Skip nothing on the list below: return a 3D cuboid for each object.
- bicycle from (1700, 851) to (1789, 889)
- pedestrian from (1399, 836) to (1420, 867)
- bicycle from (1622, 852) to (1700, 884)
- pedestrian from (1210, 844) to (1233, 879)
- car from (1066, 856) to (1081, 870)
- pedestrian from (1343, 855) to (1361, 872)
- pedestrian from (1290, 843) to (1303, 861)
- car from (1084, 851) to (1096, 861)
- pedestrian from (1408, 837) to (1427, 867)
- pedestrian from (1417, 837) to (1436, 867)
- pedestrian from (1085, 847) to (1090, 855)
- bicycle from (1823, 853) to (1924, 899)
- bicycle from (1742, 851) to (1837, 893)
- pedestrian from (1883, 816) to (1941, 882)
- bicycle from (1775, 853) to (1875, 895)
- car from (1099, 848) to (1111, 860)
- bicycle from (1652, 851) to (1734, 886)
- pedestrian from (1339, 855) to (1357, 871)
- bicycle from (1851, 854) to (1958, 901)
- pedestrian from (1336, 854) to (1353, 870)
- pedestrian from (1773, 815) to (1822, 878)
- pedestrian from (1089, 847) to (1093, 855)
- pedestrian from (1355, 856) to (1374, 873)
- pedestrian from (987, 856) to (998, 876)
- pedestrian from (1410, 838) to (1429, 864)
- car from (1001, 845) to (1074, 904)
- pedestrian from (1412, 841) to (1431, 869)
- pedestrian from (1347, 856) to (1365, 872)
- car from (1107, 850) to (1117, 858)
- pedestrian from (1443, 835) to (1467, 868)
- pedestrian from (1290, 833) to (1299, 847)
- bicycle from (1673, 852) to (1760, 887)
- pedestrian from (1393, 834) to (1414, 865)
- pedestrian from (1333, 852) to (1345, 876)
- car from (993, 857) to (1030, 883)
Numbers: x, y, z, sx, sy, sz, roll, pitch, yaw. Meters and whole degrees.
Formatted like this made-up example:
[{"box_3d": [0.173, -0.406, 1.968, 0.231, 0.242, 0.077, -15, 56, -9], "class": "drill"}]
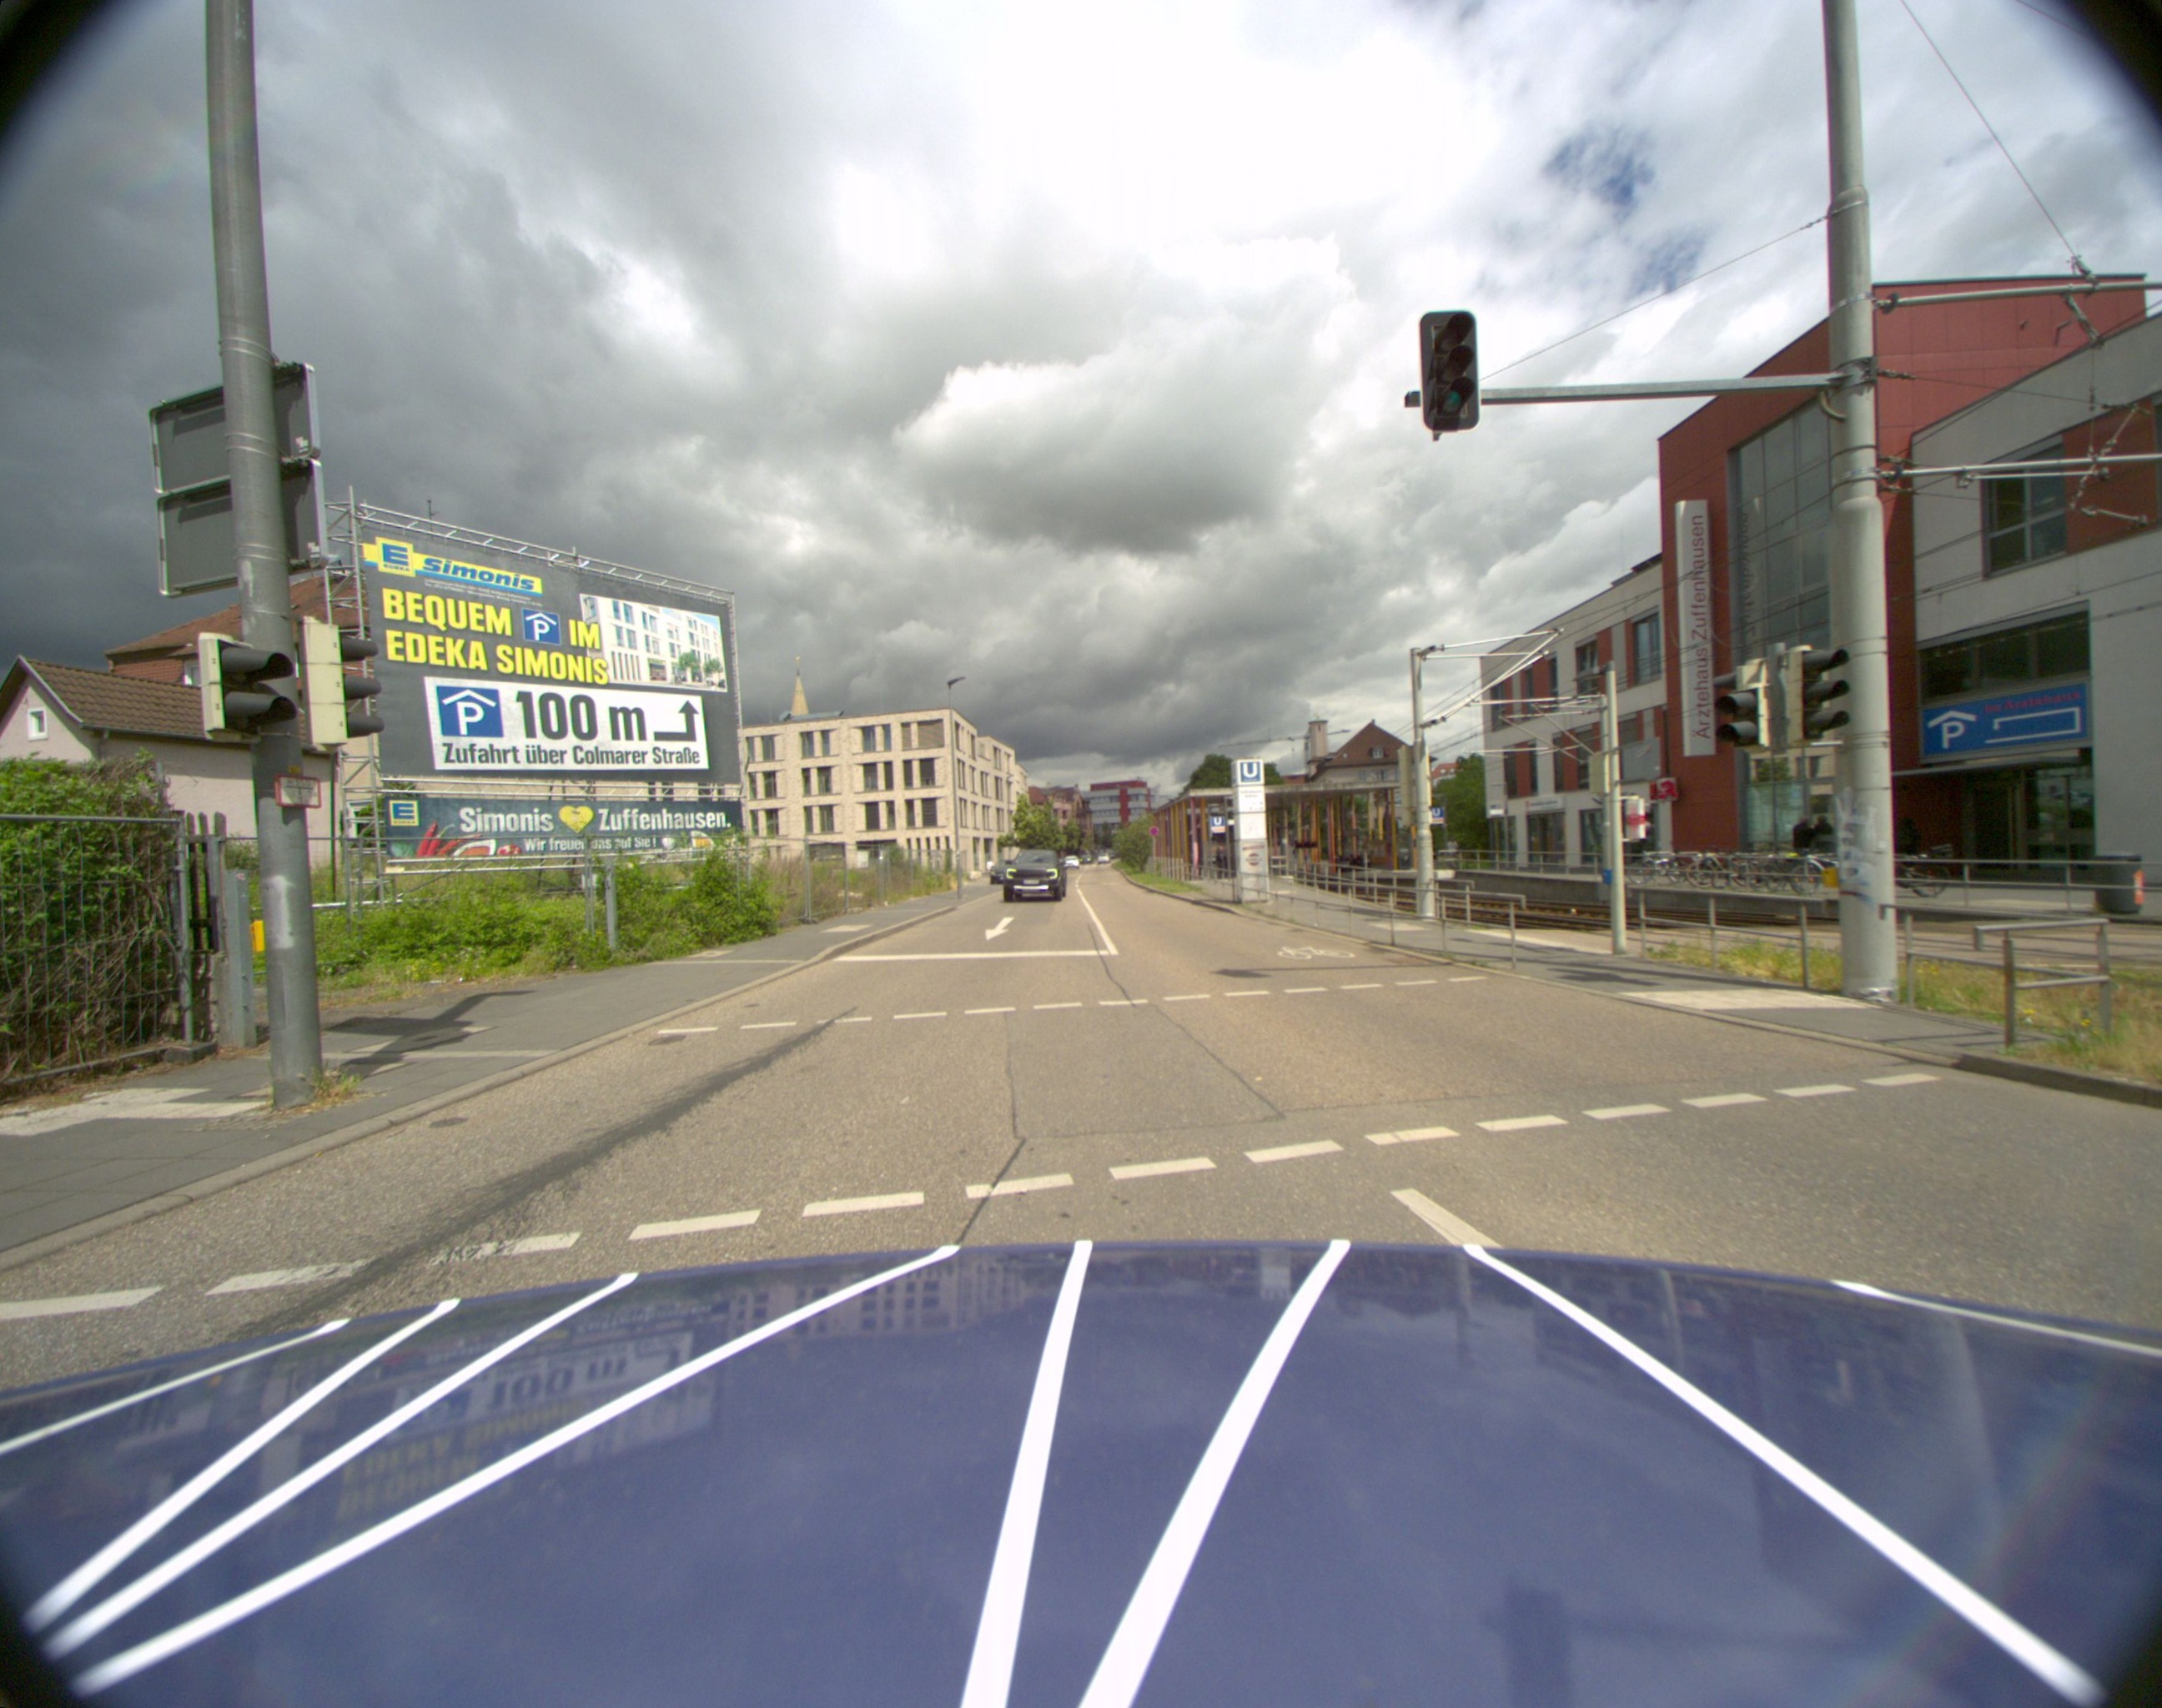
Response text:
[{"box_3d": [17.547, 0.430, 20.123, 1.861, 0.934, 0.454, -2, 1, 5], "class": "bicycle"}, {"box_3d": [21.222, -0.159, 49.096, 0.864, 1.957, 1.105, -1, 2, -1], "class": "pedestrian"}, {"box_3d": [17.531, 0.423, 22.980, 1.861, 0.876, 0.455, -2, 1, 9], "class": "bicycle"}, {"box_3d": [7.700, 0.396, 41.644, 1.105, 1.903, 0.864, -1, 2, 2], "class": "pedestrian"}, {"box_3d": [-0.869, 1.040, 89.800, 1.719, 1.541, 3.793, -1, 0, 1], "class": "car"}, {"box_3d": [19.083, 0.667, 53.598, 0.943, 1.128, 0.886, -2, 0, 2], "class": "pedestrian"}, {"box_3d": [24.020, -0.191, 84.816, 1.127, 2.002, 1.179, -1, 0, 6], "class": "pedestrian"}, {"box_3d": [1.290, 0.322, 113.862, 1.678, 1.425, 3.794, -2, 1, 0], "class": "car"}, {"box_3d": [22.668, -0.157, 51.185, 0.863, 1.957, 1.106, -1, 2, 6], "class": "pedestrian"}, {"box_3d": [23.242, -0.133, 51.132, 0.863, 1.957, 1.106, -1, 2, 6], "class": "pedestrian"}, {"box_3d": [1.108, -0.573, 137.013, 0.673, 1.503, 0.783, -1, 0, 16], "class": "pedestrian"}, {"box_3d": [17.711, 0.490, 17.000, 1.739, 0.952, 0.428, -2, 1, 3], "class": "bicycle"}, {"box_3d": [17.681, 0.439, 18.971, 1.862, 0.957, 0.454, -2, 1, 3], "class": "bicycle"}, {"box_3d": [22.054, -0.137, 20.182, 0.933, 1.688, 0.790, 0, 2, 40], "class": "pedestrian"}, {"box_3d": [17.644, 0.471, 18.039, 1.862, 0.930, 0.454, -2, 1, 3], "class": "bicycle"}, {"box_3d": [3.450, 0.028, 108.943, 1.588, 1.528, 3.946, -5, 1, 1], "class": "car"}, {"box_3d": [17.590, 0.409, 21.852, 1.861, 0.927, 0.455, -2, 1, 9], "class": "bicycle"}, {"box_3d": [19.180, 0.647, 54.589, 0.943, 1.128, 0.886, -2, 0, 2], "class": "pedestrian"}, {"box_3d": [17.722, 0.504, 16.367, 1.739, 0.947, 0.428, -2, 1, 3], "class": "bicycle"}, {"box_3d": [19.303, 0.597, 55.661, 0.943, 1.128, 0.886, -2, 0, 2], "class": "pedestrian"}, {"box_3d": [22.009, -0.238, 23.341, 0.881, 1.835, 0.862, -4, 3, -27], "class": "pedestrian"}, {"box_3d": [1.871, -0.526, 145.034, 0.673, 1.503, 0.783, -2, 0, 3], "class": "pedestrian"}, {"box_3d": [19.263, 0.700, 51.685, 0.943, 1.128, 0.886, -2, 0, 2], "class": "pedestrian"}, {"box_3d": [-6.612, 0.905, 56.806, 0.673, 1.503, 0.782, -2, 0, 1], "class": "pedestrian"}, {"box_3d": [26.344, -0.261, 59.157, 0.865, 1.957, 1.104, -2, 2, -23], "class": "pedestrian"}, {"box_3d": [-1.487, 0.662, 27.964, 2.003, 1.876, 5.151, -1, 1, 4], "class": "car"}, {"box_3d": [23.825, 0.053, 53.195, 0.863, 1.957, 1.106, -1, 2, 6], "class": "pedestrian"}, {"box_3d": [19.068, 0.685, 52.640, 0.943, 1.128, 0.886, -2, 0, 2], "class": "pedestrian"}, {"box_3d": [5.524, -0.075, 133.907, 1.677, 1.299, 3.794, -1, 1, 3], "class": "car"}, {"box_3d": [22.157, -0.149, 45.014, 0.864, 1.957, 1.106, -1, 2, 3], "class": "pedestrian"}, {"box_3d": [30.877, -1.982, 109.697, 1.125, 2.002, 1.661, -1, 0, 13], "class": "pedestrian"}, {"box_3d": [17.565, 0.424, 21.023, 1.861, 0.917, 0.455, -2, 1, 8], "class": "bicycle"}, {"box_3d": [20.763, -0.306, 48.998, 0.864, 1.957, 1.105, -1, 2, -1], "class": "pedestrian"}, {"box_3d": [21.641, 0.857, 63.656, 0.623, 2.002, 0.763, -1, 0, -6], "class": "pedestrian"}, {"box_3d": [-4.159, 0.959, 46.113, 1.677, 1.415, 3.794, -1, 1, 3], "class": "car"}]
